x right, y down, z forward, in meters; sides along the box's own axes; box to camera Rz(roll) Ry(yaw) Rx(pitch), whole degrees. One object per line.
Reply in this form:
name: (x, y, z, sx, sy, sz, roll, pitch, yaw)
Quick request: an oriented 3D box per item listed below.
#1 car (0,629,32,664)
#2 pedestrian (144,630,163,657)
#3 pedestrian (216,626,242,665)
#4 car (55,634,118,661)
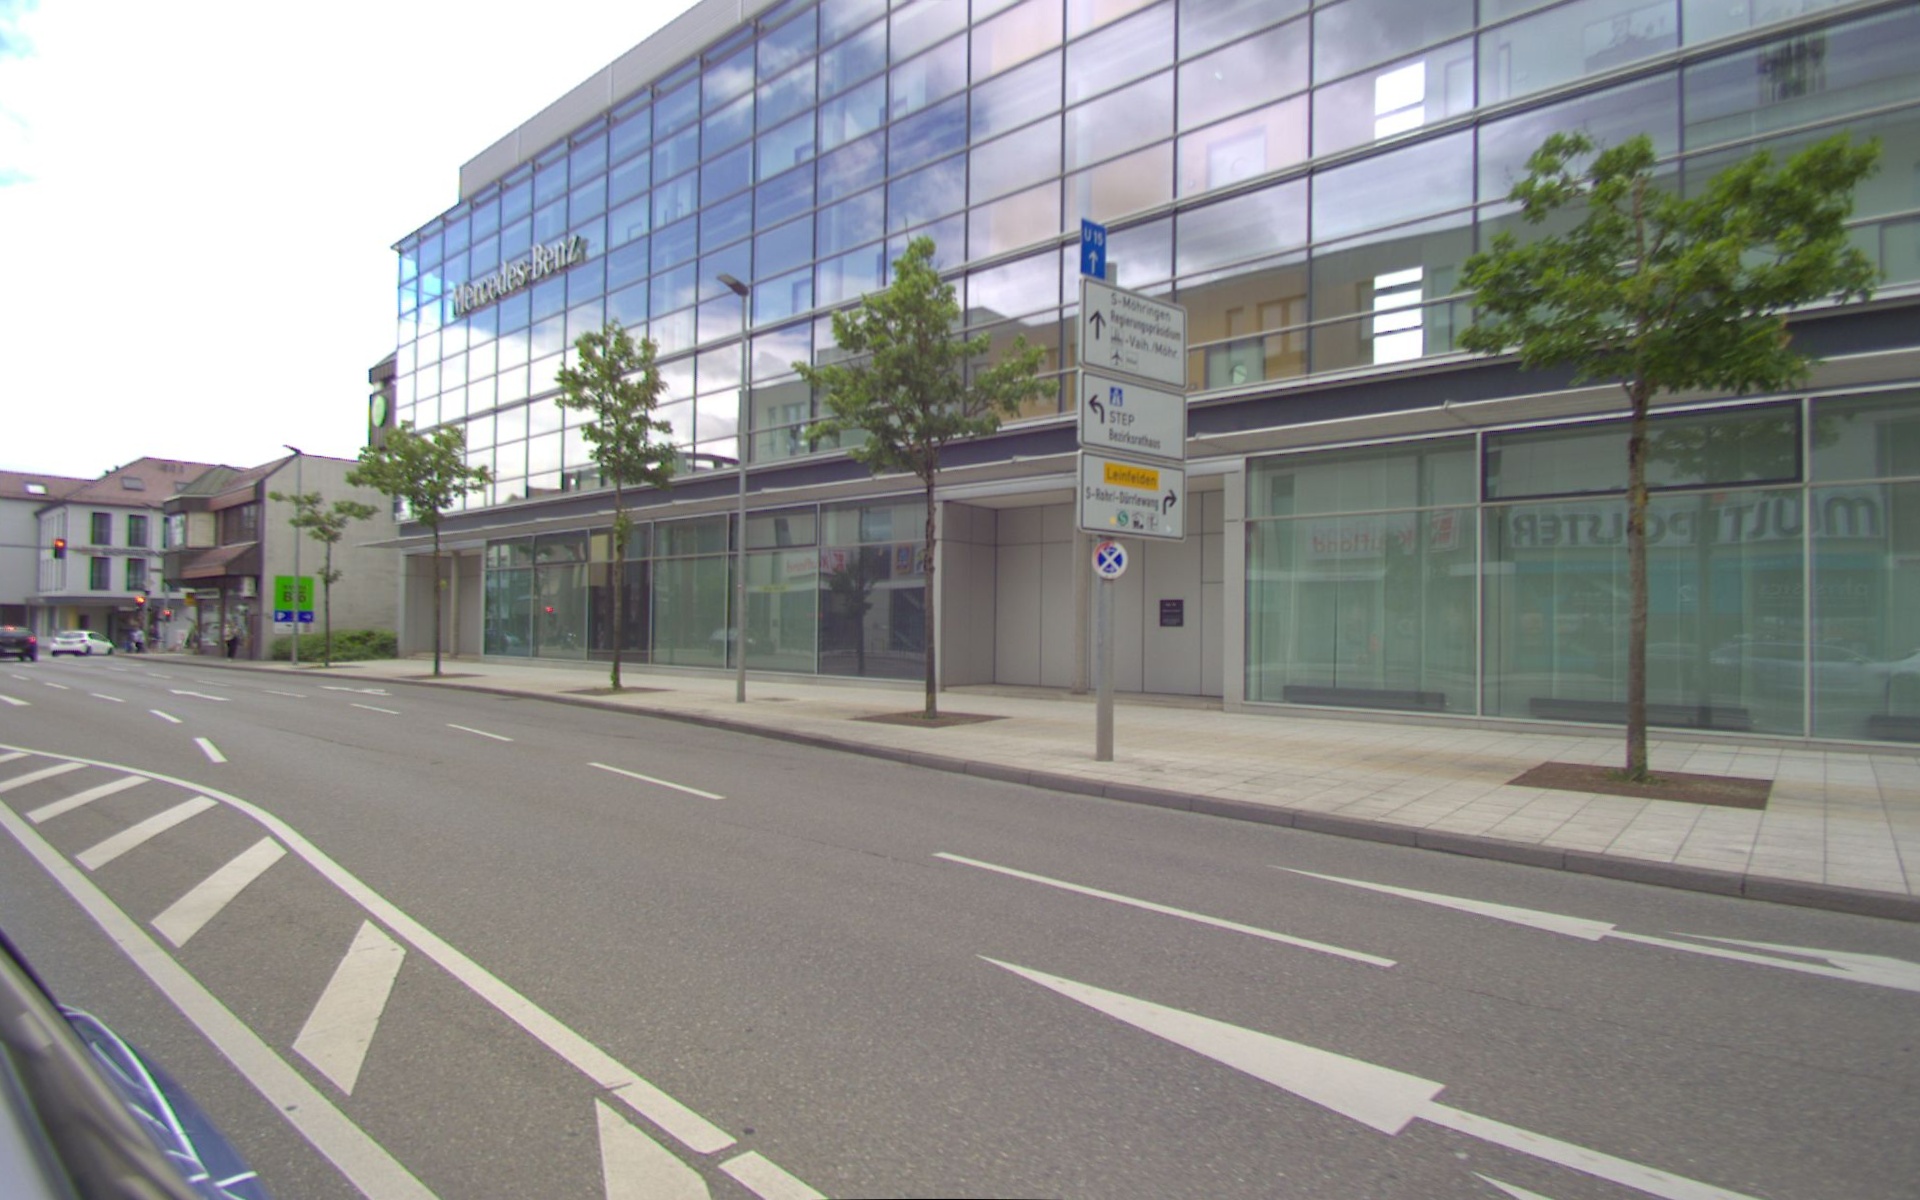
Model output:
car: (-41.289, 1.961, 43.216, 3.994, 1.478, 1.781, -1, -3, 38)
pedestrian: (-45.552, 2.448, 57.180, 0.577, 1.527, 0.552, 0, -2, 8)
pedestrian: (-30.330, 1.884, 41.996, 0.693, 1.636, 0.693, -2, -3, 41)
car: (-50.030, 2.690, 58.047, 1.905, 1.478, 4.012, 2, -3, -28)
